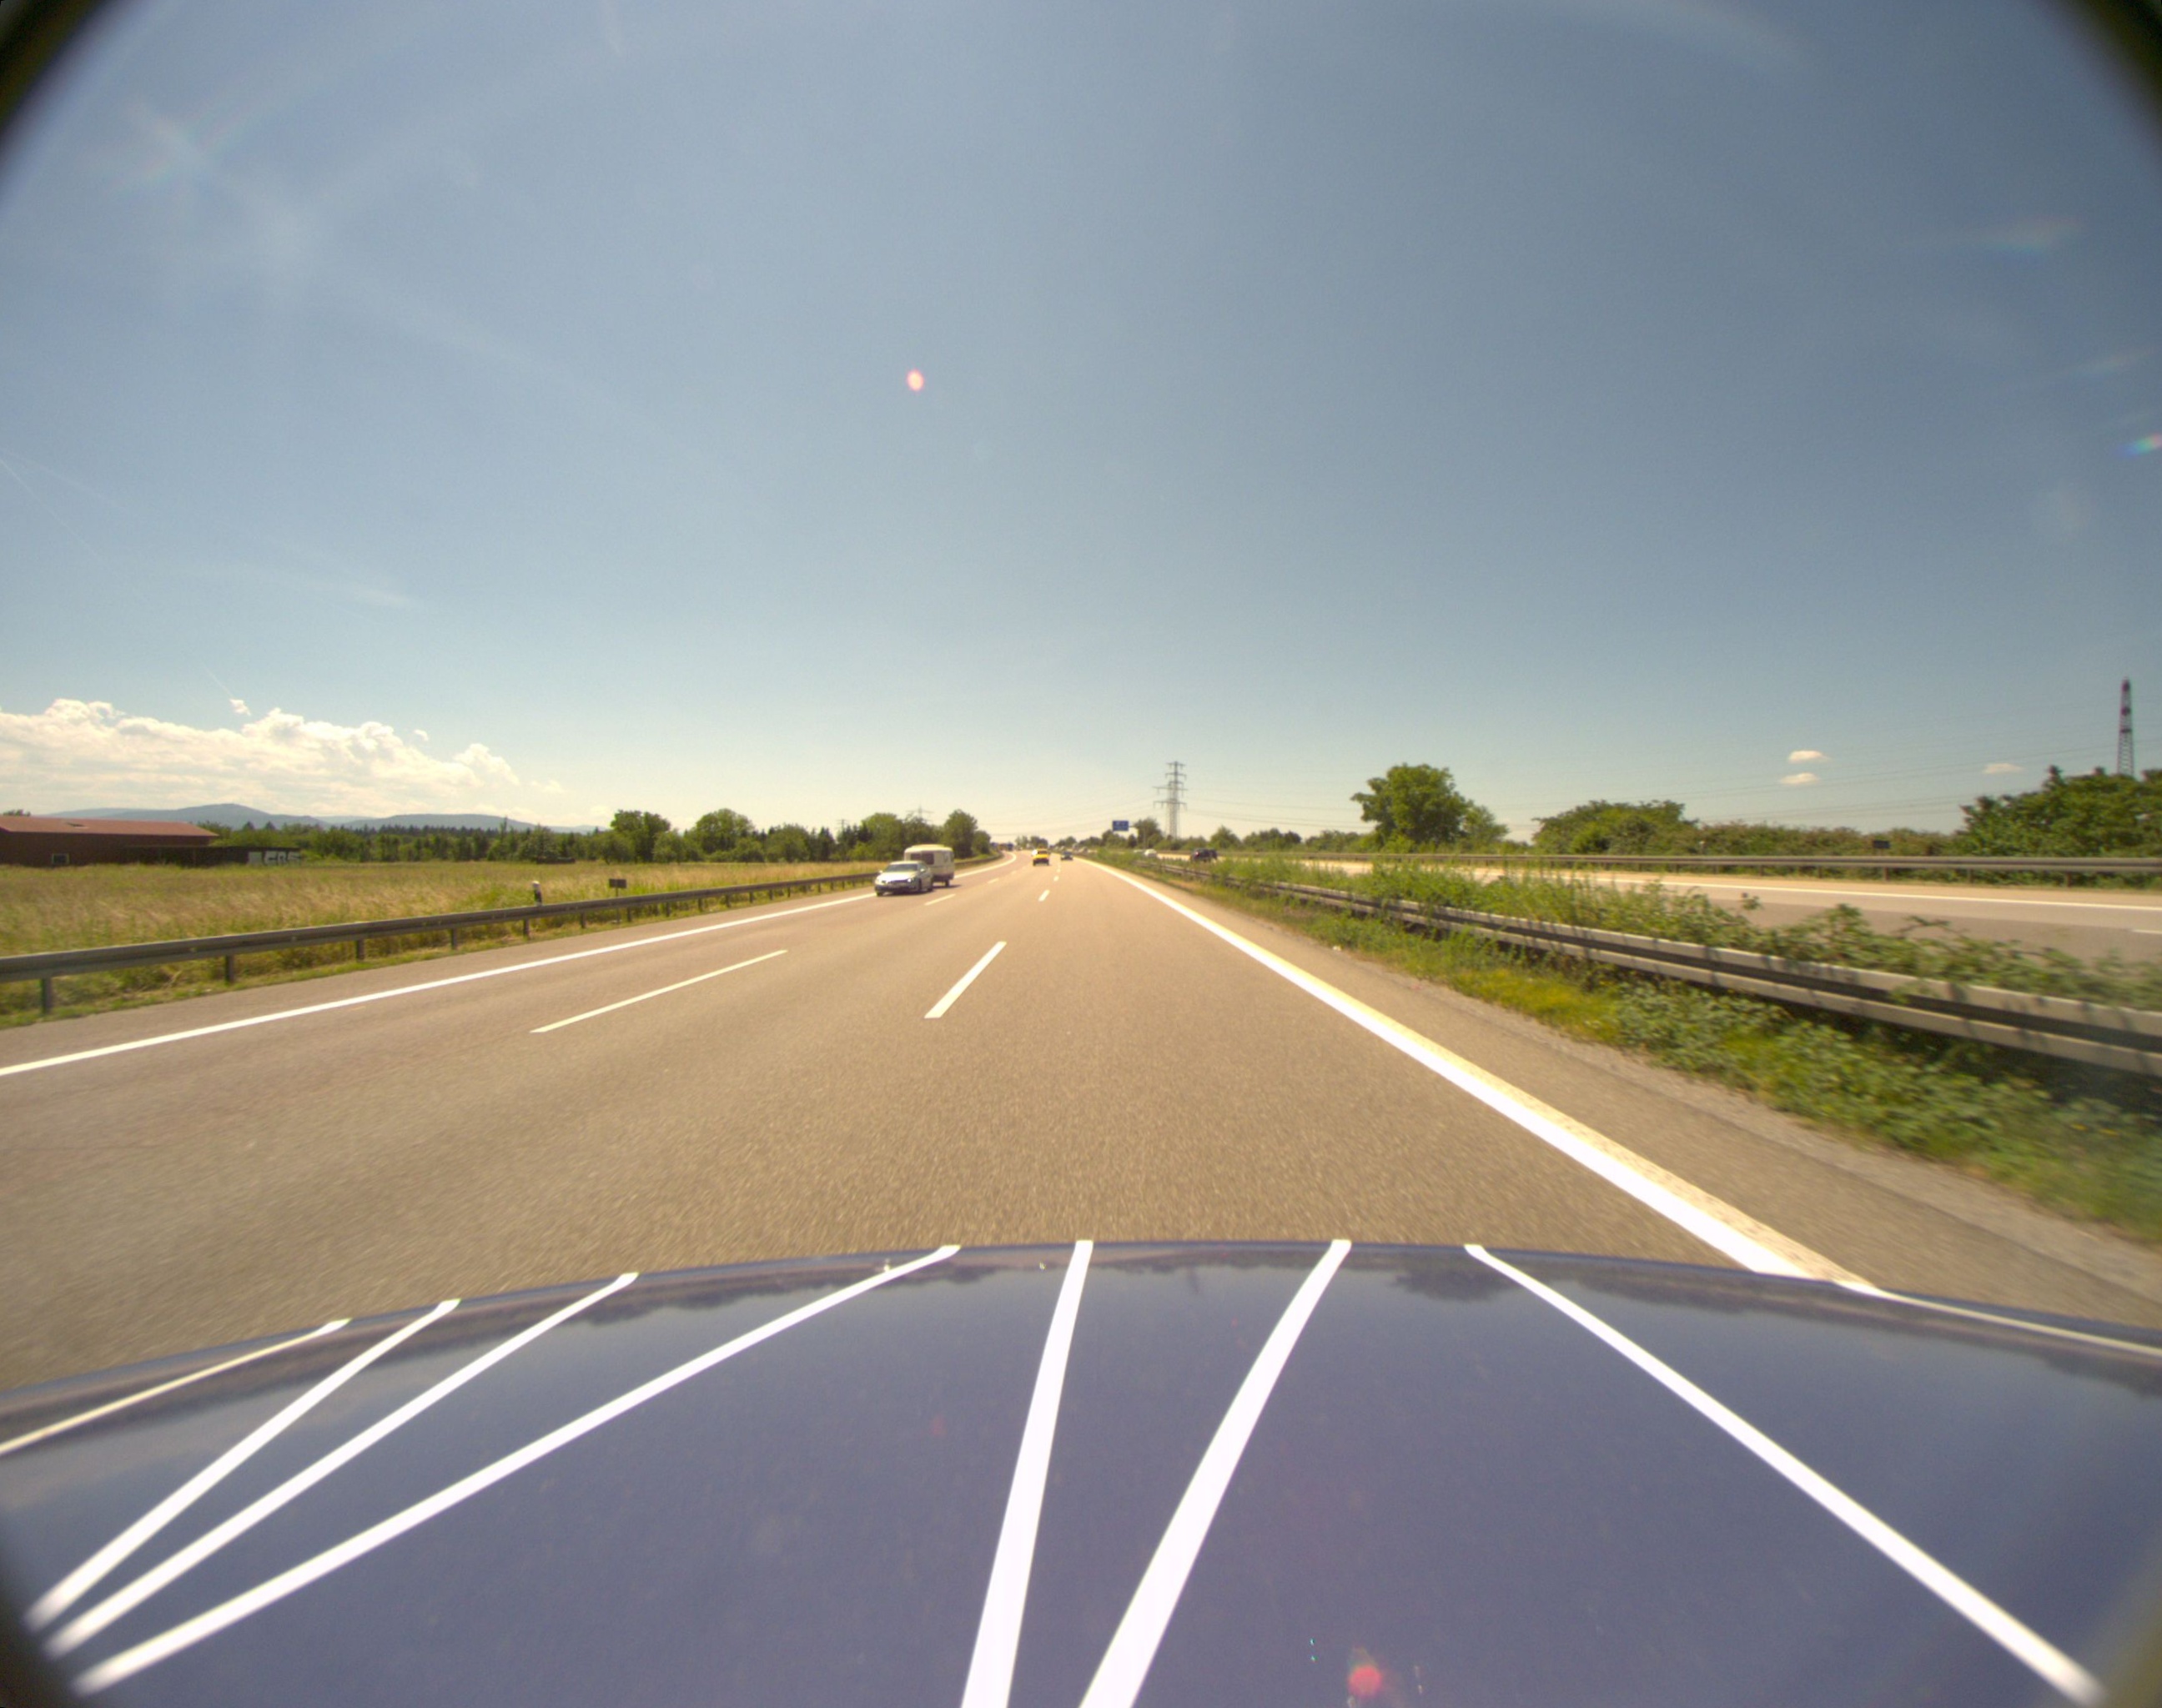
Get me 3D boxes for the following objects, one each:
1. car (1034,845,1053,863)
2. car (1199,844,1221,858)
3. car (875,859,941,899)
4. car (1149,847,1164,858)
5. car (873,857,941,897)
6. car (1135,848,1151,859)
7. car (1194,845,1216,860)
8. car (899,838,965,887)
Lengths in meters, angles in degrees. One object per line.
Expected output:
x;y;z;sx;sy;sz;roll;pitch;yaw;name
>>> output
-4.406;0.060;90.059;1.955;2.001;5.433;0;-1;0;car
16.096;-0.392;95.091;1.787;1.652;4.656;-1;1;-2;car
-7.634;1.058;34.035;2.051;1.648;5.508;-1;-1;-4;car
11.731;-0.203;117.869;1.706;1.551;4.377;-2;0;-3;car
-7.600;0.932;33.703;1.892;1.506;5.378;-3;0;-2;car
8.524;-0.109;104.536;1.688;1.481;4.727;-2;1;0;car
13.220;-0.162;81.298;1.649;1.552;4.065;-2;1;0;car
-7.708;0.452;39.862;2.449;2.308;5.321;-2;-1;-1;car
